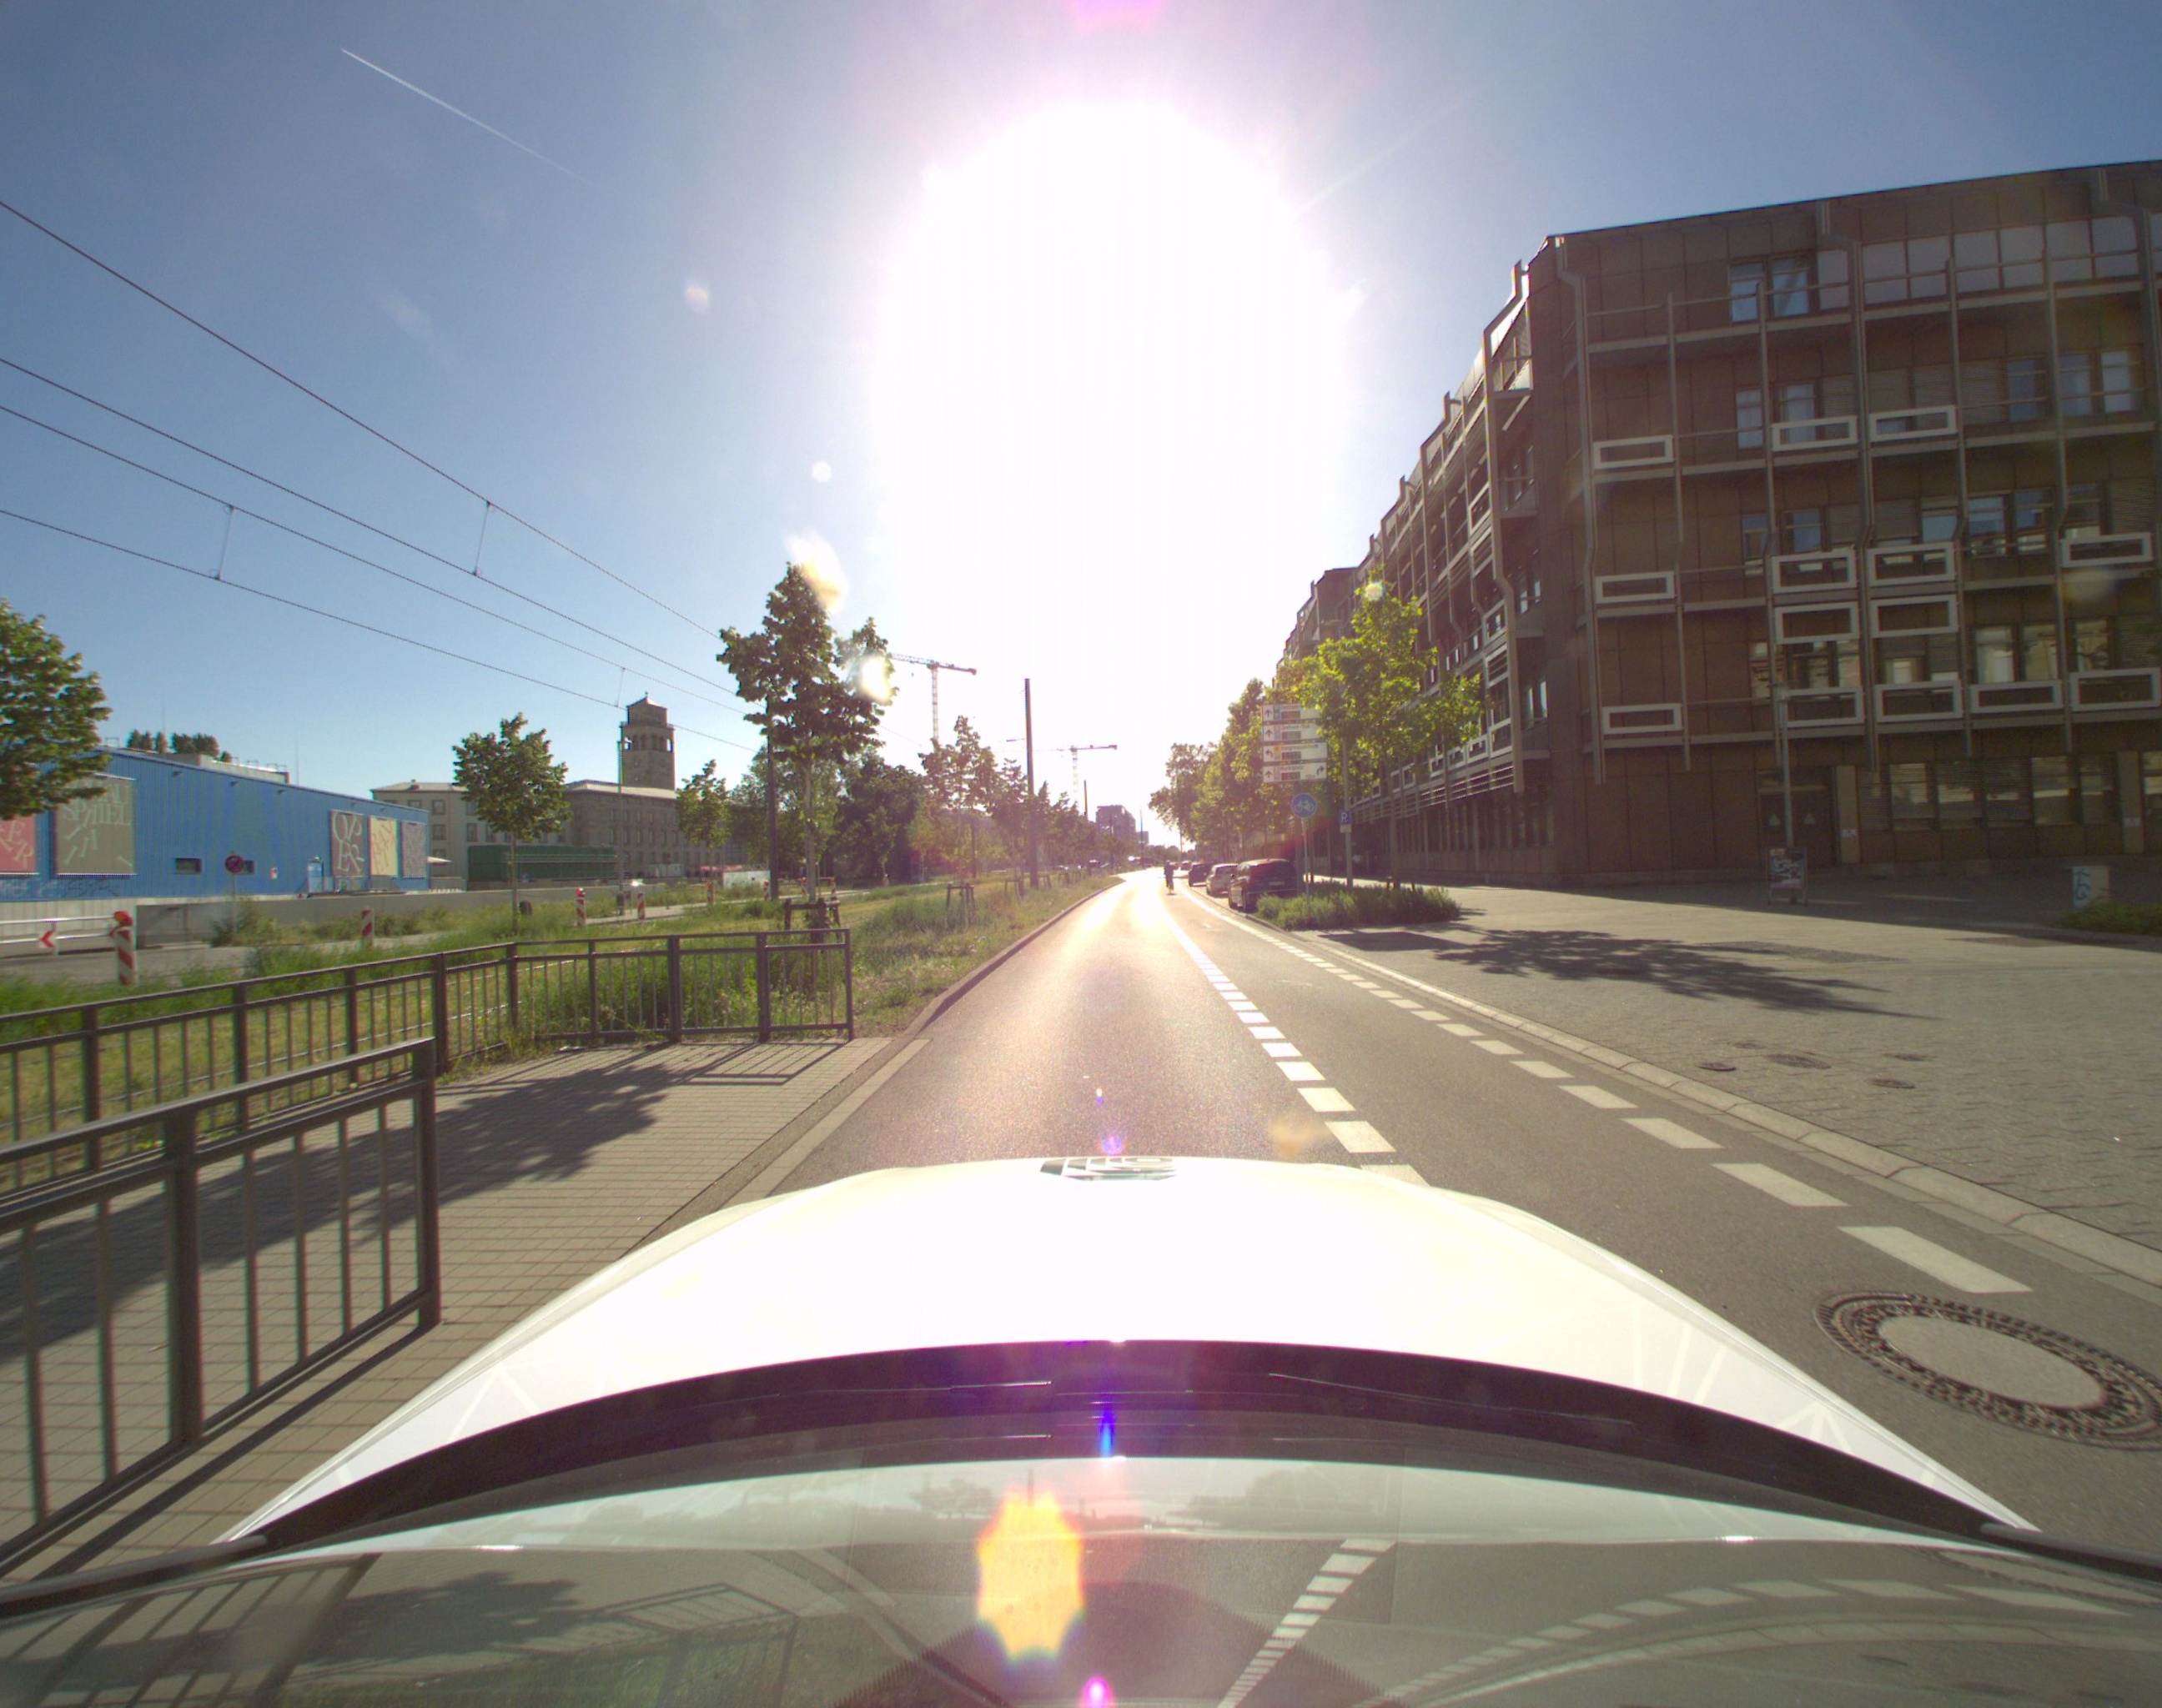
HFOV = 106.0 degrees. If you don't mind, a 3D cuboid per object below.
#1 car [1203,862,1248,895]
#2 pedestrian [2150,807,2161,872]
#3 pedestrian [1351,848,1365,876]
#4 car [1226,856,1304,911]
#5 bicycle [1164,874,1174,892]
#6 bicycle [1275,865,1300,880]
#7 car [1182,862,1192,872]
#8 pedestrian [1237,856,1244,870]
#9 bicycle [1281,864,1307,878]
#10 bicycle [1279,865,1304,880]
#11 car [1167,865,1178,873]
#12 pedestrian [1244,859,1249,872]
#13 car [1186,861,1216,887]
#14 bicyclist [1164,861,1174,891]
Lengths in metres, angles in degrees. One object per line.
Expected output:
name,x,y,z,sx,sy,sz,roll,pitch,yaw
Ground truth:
car,7.024,1.164,39.882,1.611,1.465,4.159,-4,-1,4
pedestrian,29.598,-0.406,21.890,0.636,1.783,0.775,-2,-1,1
pedestrian,16.371,0.485,48.164,0.508,1.623,0.675,-5,-1,8
car,6.161,0.955,27.752,1.741,1.659,4.472,-2,-1,2
bicycle,4.807,1.568,44.541,0.495,0.906,2.199,0,-1,4
bicycle,16.825,1.482,66.435,1.847,1.098,0.428,-4,-2,9
car,20.110,2.448,154.148,1.711,1.618,4.198,-2,-1,10
pedestrian,17.270,0.924,88.173,0.508,1.474,0.738,-4,-1,8
bicycle,16.650,1.309,63.673,1.847,0.939,0.428,-4,-2,9
bicycle,16.700,1.486,64.649,1.847,1.011,0.428,-4,-2,9
car,17.776,2.828,158.316,1.901,1.487,4.018,-2,-1,8
pedestrian,21.610,1.492,106.355,0.508,1.701,0.775,-4,-1,8
car,8.527,1.401,58.280,1.840,1.657,4.856,-4,-1,6
bicyclist,4.807,1.217,44.538,0.510,1.601,0.537,-2,-1,4
